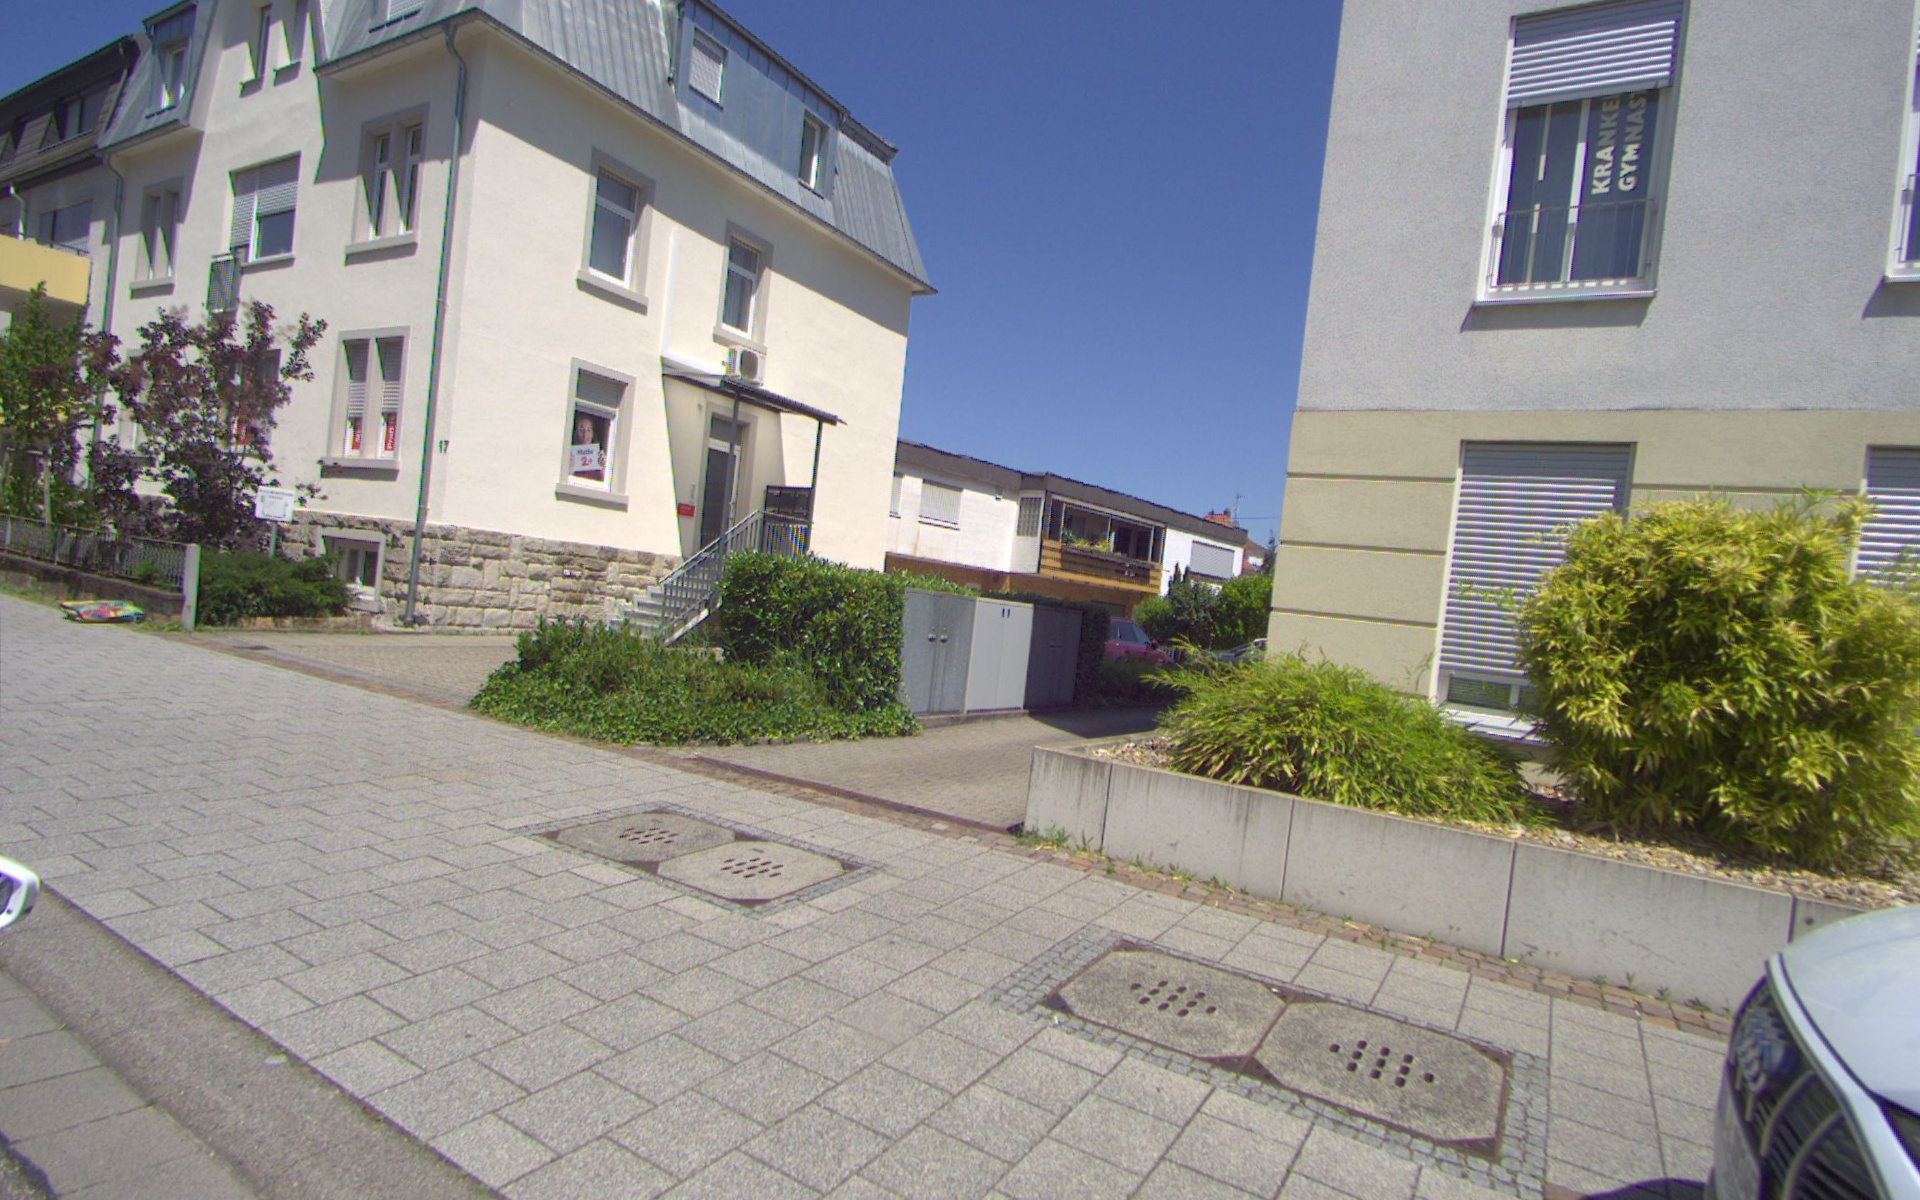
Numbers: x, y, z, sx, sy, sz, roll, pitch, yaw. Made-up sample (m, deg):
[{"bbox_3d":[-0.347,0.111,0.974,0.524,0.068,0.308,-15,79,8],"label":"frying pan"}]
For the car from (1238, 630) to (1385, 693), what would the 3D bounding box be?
[{"bbox_3d":[10.939,1.898,31.358,3.934,1.437,1.802,7,0,32],"label":"car"}]

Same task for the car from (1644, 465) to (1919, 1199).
[{"bbox_3d":[3.309,0.925,0.662,4.505,1.688,1.705,6,3,32],"label":"car"}]

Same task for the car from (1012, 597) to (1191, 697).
[{"bbox_3d":[2.910,0.995,19.826,1.841,1.533,4.188,7,-2,32],"label":"car"}]

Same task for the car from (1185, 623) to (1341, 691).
[{"bbox_3d":[8.858,1.650,29.470,3.934,1.437,1.802,7,0,32],"label":"car"}]
